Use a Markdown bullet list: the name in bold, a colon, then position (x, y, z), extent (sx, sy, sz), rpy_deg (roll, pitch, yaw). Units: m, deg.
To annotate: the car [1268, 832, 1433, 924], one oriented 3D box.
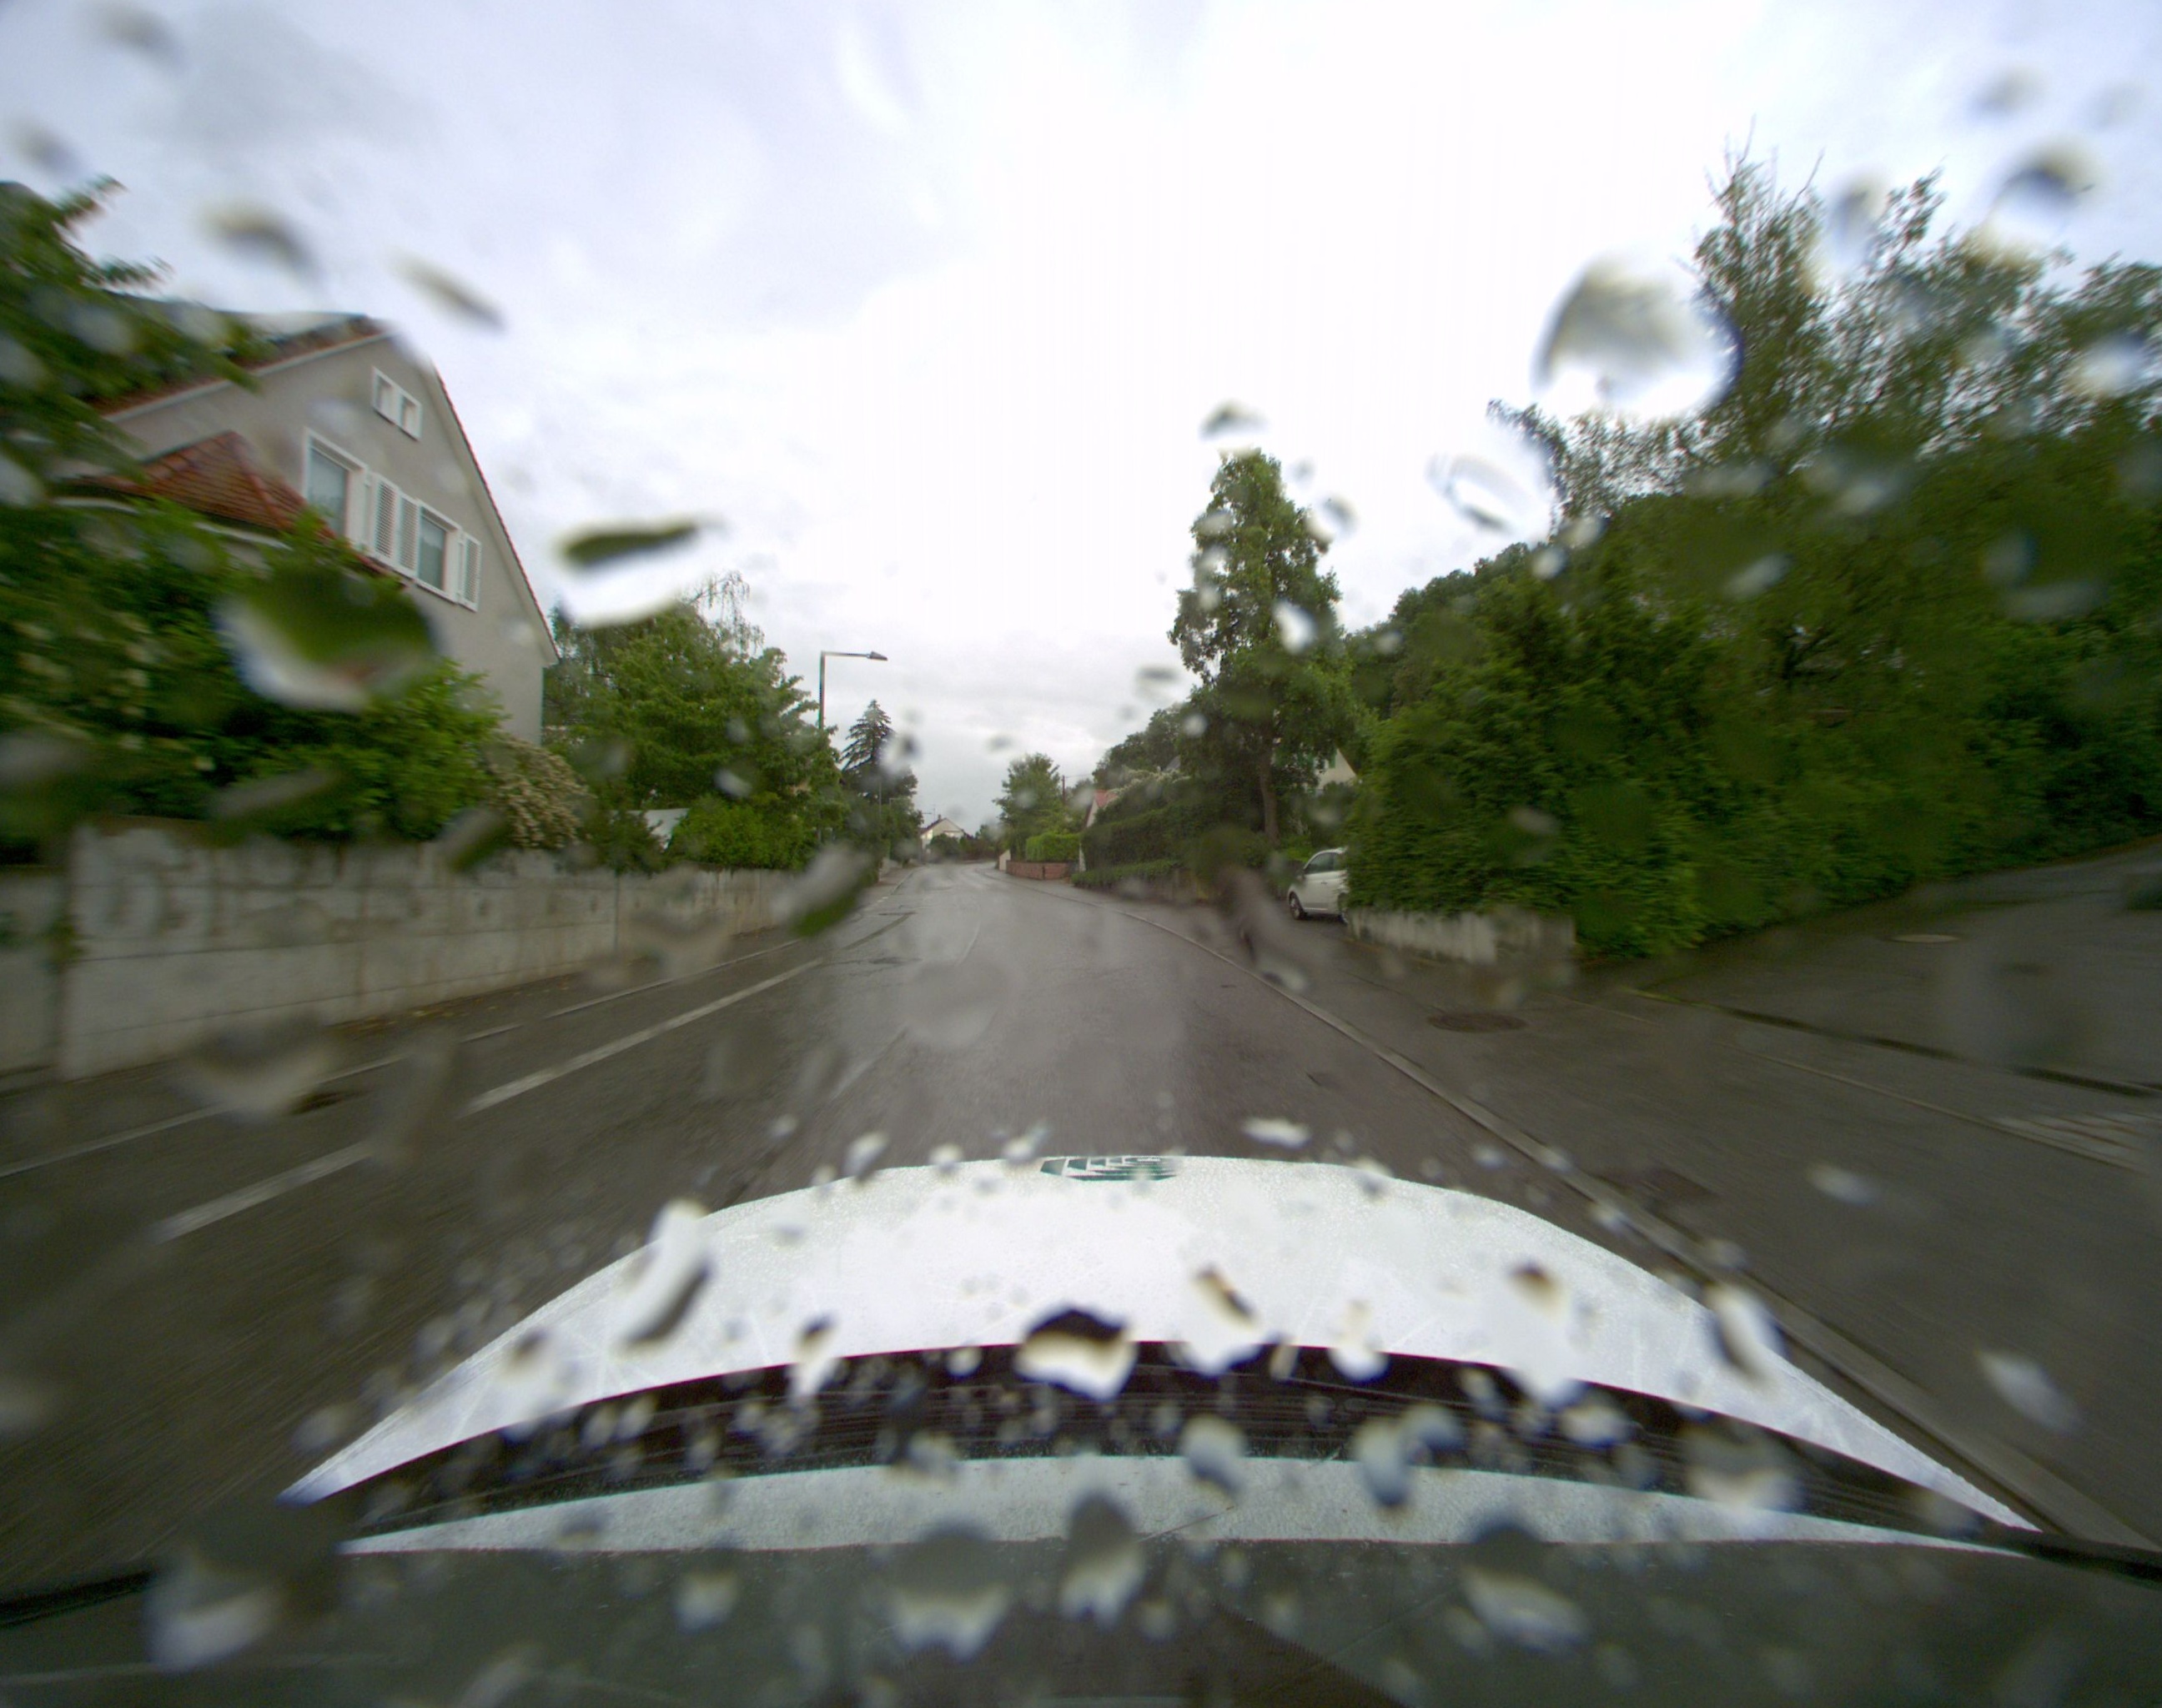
- **car**: position (5.413, 0.435, 16.879), extent (1.532, 1.535, 3.833), rpy_deg (-6, 1, -9)
